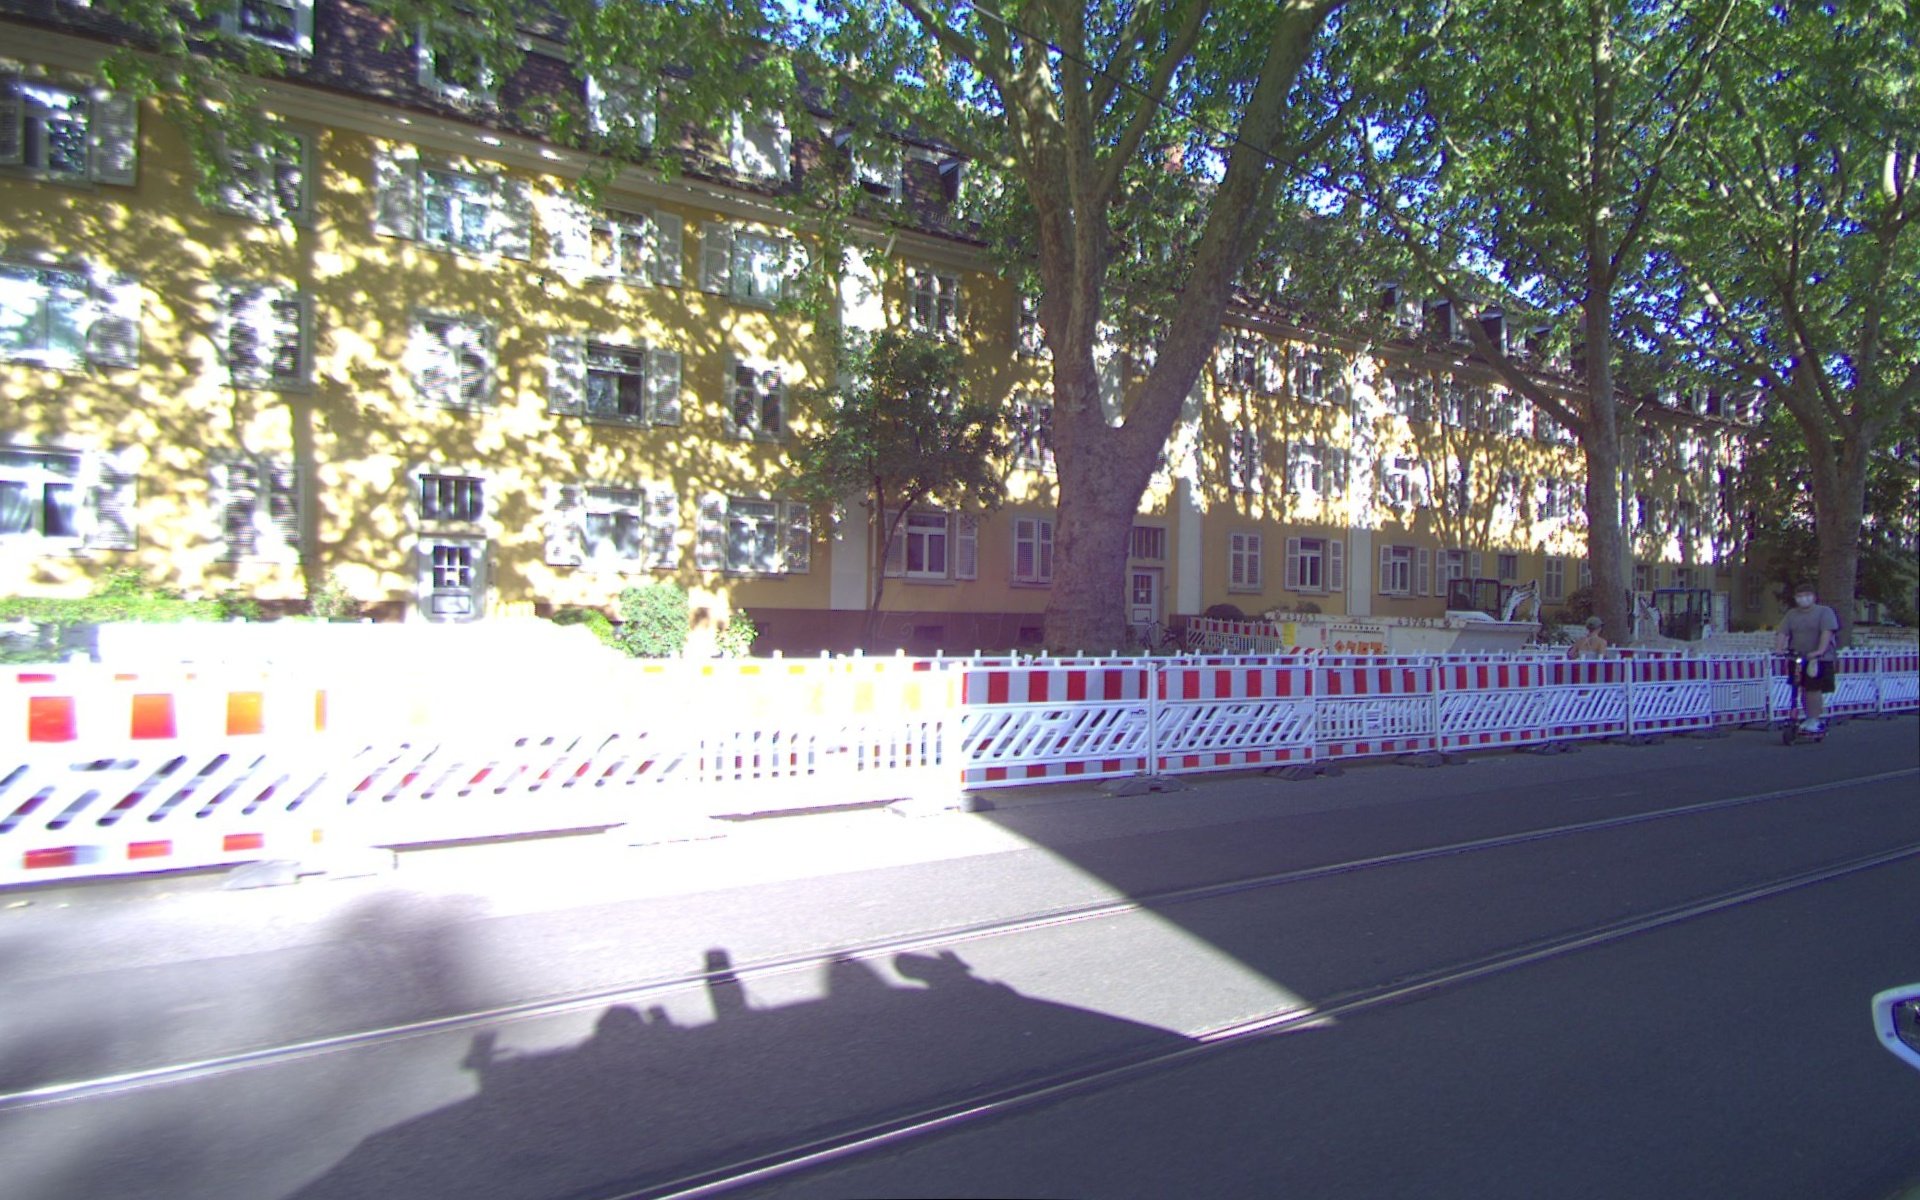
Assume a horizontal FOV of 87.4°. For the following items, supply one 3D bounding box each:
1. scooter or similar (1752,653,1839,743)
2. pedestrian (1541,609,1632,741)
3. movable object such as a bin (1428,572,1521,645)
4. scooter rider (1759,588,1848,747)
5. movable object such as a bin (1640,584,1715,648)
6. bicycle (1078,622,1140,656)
[{"bbox_3d":[10.900,1.257,13.095,1.322,1.097,0.406,2,1,-30],"label":"scooter or similar"},{"bbox_3d":[8.430,0.988,13.522,0.769,1.691,0.713,2,1,-30],"label":"pedestrian"},{"bbox_3d":[13.937,0.220,27.199,1.984,1.893,1.327,2,1,-30],"label":"movable object such as a bin"},{"bbox_3d":[10.893,0.852,12.983,0.616,1.983,0.646,2,1,-29],"label":"scooter rider"},{"bbox_3d":[19.471,0.437,27.259,1.541,1.667,1.092,2,1,-30],"label":"movable object such as a bin"},{"bbox_3d":[3.788,0.997,25.492,1.627,0.829,0.503,1,0,-34],"label":"bicycle"}]
